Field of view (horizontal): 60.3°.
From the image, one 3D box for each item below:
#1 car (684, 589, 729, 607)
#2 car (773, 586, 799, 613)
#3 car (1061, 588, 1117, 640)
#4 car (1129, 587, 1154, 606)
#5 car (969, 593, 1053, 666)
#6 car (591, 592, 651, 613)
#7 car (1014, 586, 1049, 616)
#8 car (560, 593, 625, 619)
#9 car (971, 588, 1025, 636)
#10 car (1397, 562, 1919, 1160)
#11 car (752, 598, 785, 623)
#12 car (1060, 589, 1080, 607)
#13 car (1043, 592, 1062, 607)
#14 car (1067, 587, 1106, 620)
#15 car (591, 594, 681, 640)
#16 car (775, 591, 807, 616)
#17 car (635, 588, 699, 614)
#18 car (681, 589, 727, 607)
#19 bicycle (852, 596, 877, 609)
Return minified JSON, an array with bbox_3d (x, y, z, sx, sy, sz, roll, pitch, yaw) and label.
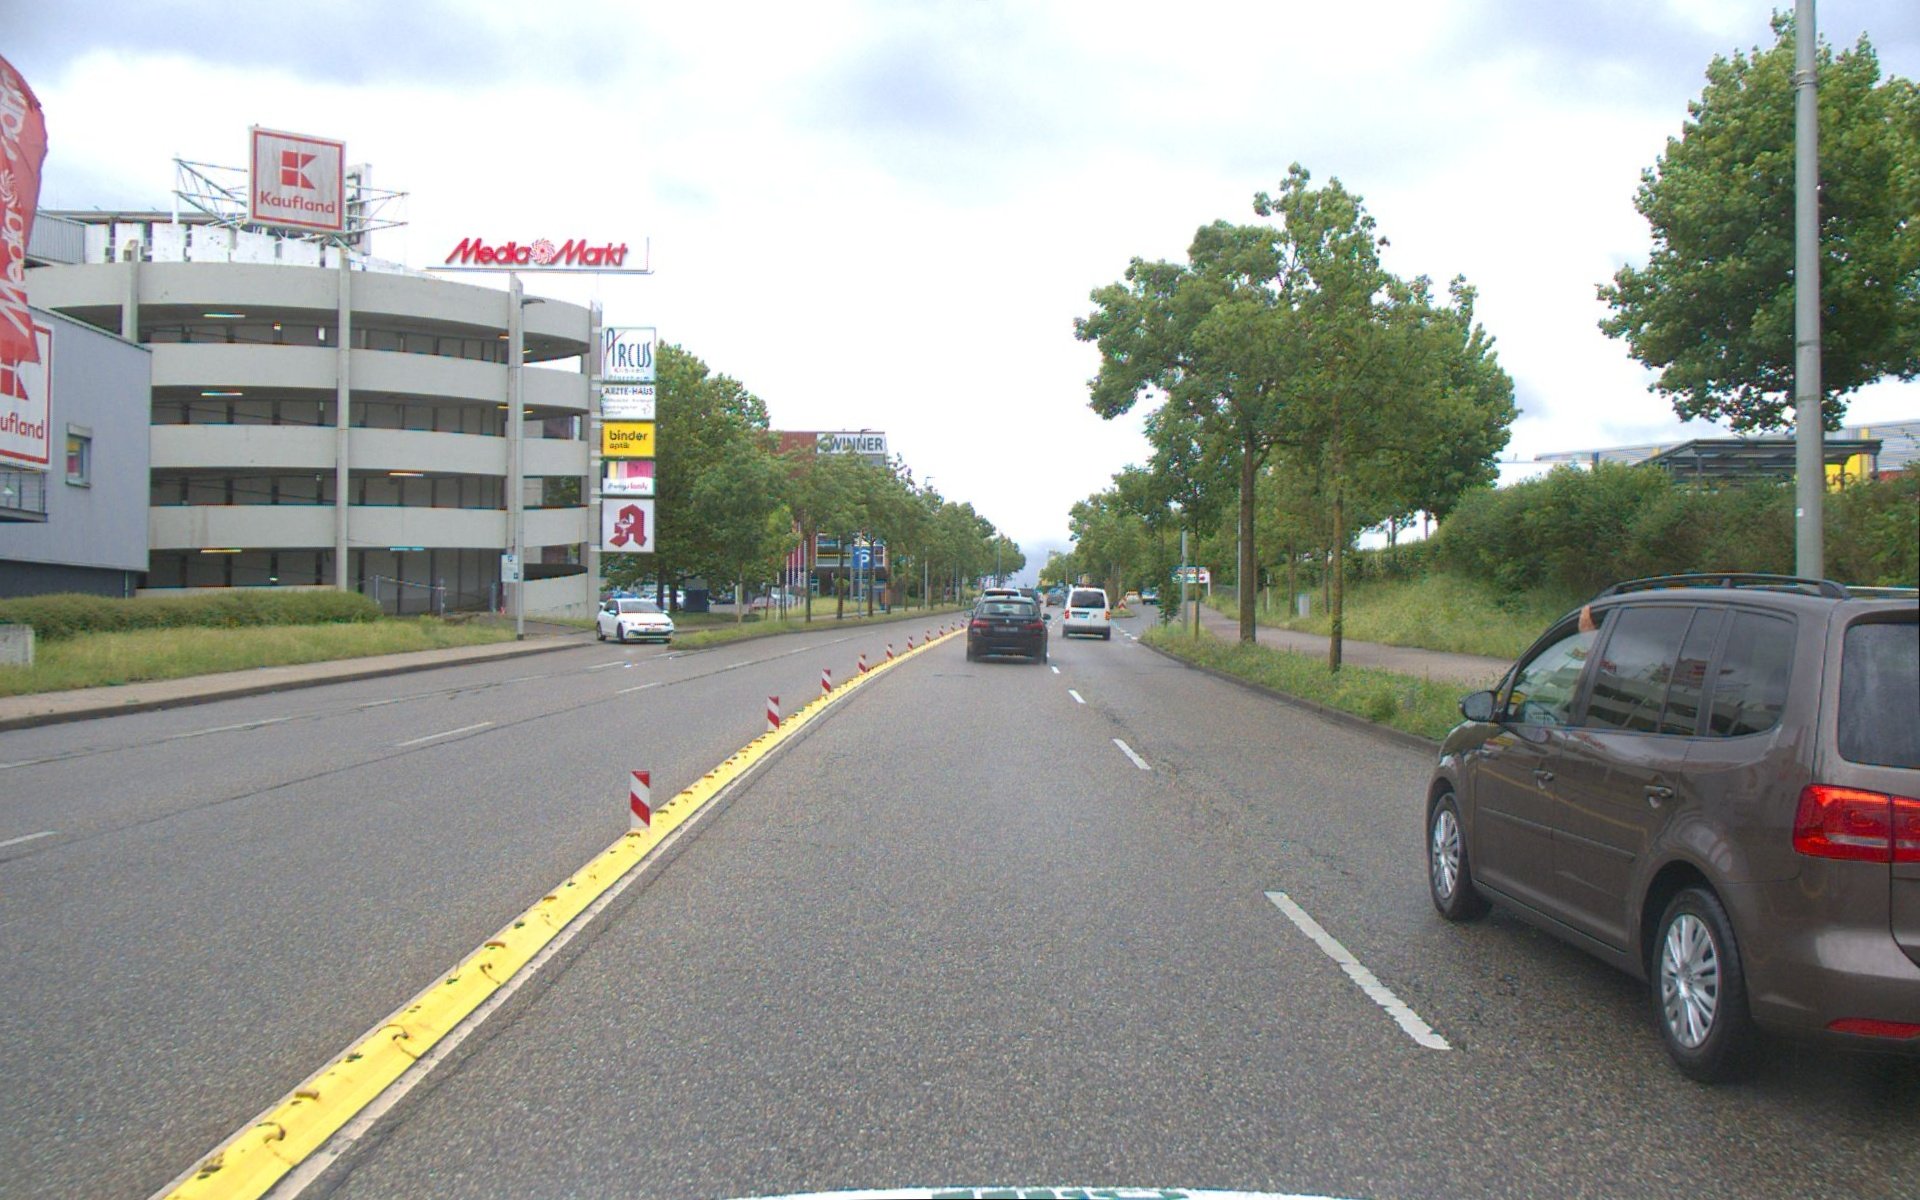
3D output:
[{"bbox_3d":[-23.811,-0.170,155.641,4.028,1.536,1.818,1,1,-4],"label":"car"},{"bbox_3d":[-14.822,-0.094,140.937,2.072,2.132,5.118,1,2,-5],"label":"car"},{"bbox_3d":[4.657,0.473,60.287,1.789,1.789,4.001,2,0,2],"label":"car"},{"bbox_3d":[16.410,-0.306,149.627,1.757,1.537,4.000,2,0,1],"label":"car"},{"bbox_3d":[1.160,0.639,38.082,1.789,1.494,4.001,2,1,1],"label":"car"},{"bbox_3d":[-27.591,0.216,134.704,4.519,1.536,2.024,1,1,-4],"label":"car"},{"bbox_3d":[3.815,0.072,88.052,1.757,1.537,4.001,2,0,2],"label":"car"},{"bbox_3d":[-27.400,0.425,123.505,4.512,1.776,2.130,1,1,-8],"label":"car"},{"bbox_3d":[1.303,0.425,57.493,1.757,1.537,4.000,2,0,1],"label":"car"},{"bbox_3d":[3.176,0.739,6.605,1.651,1.609,4.218,2,0,-1],"label":"car"},{"bbox_3d":[-13.918,0.742,120.645,1.893,1.636,4.711,1,2,-1],"label":"car"},{"bbox_3d":[10.465,-0.179,158.007,1.757,1.537,4.001,2,0,3],"label":"car"},{"bbox_3d":[9.639,-0.019,173.212,1.757,1.537,4.000,2,0,1],"label":"car"},{"bbox_3d":[6.158,0.176,80.817,1.757,1.537,4.001,2,0,3],"label":"car"},{"bbox_3d":[-10.913,0.536,55.513,1.876,1.433,4.386,-2,1,-26],"label":"car"},{"bbox_3d":[-13.770,0.279,135.181,1.997,1.792,4.947,1,2,1],"label":"car"},{"bbox_3d":[-22.273,0.060,125.871,4.508,1.776,1.966,1,1,-4],"label":"car"},{"bbox_3d":[-23.726,-0.155,153.403,4.028,1.536,1.818,1,1,-4],"label":"car"},{"bbox_3d":[-8.878,0.229,153.670,2.033,0.951,1.094,5,0,8],"label":"bicycle"}]
